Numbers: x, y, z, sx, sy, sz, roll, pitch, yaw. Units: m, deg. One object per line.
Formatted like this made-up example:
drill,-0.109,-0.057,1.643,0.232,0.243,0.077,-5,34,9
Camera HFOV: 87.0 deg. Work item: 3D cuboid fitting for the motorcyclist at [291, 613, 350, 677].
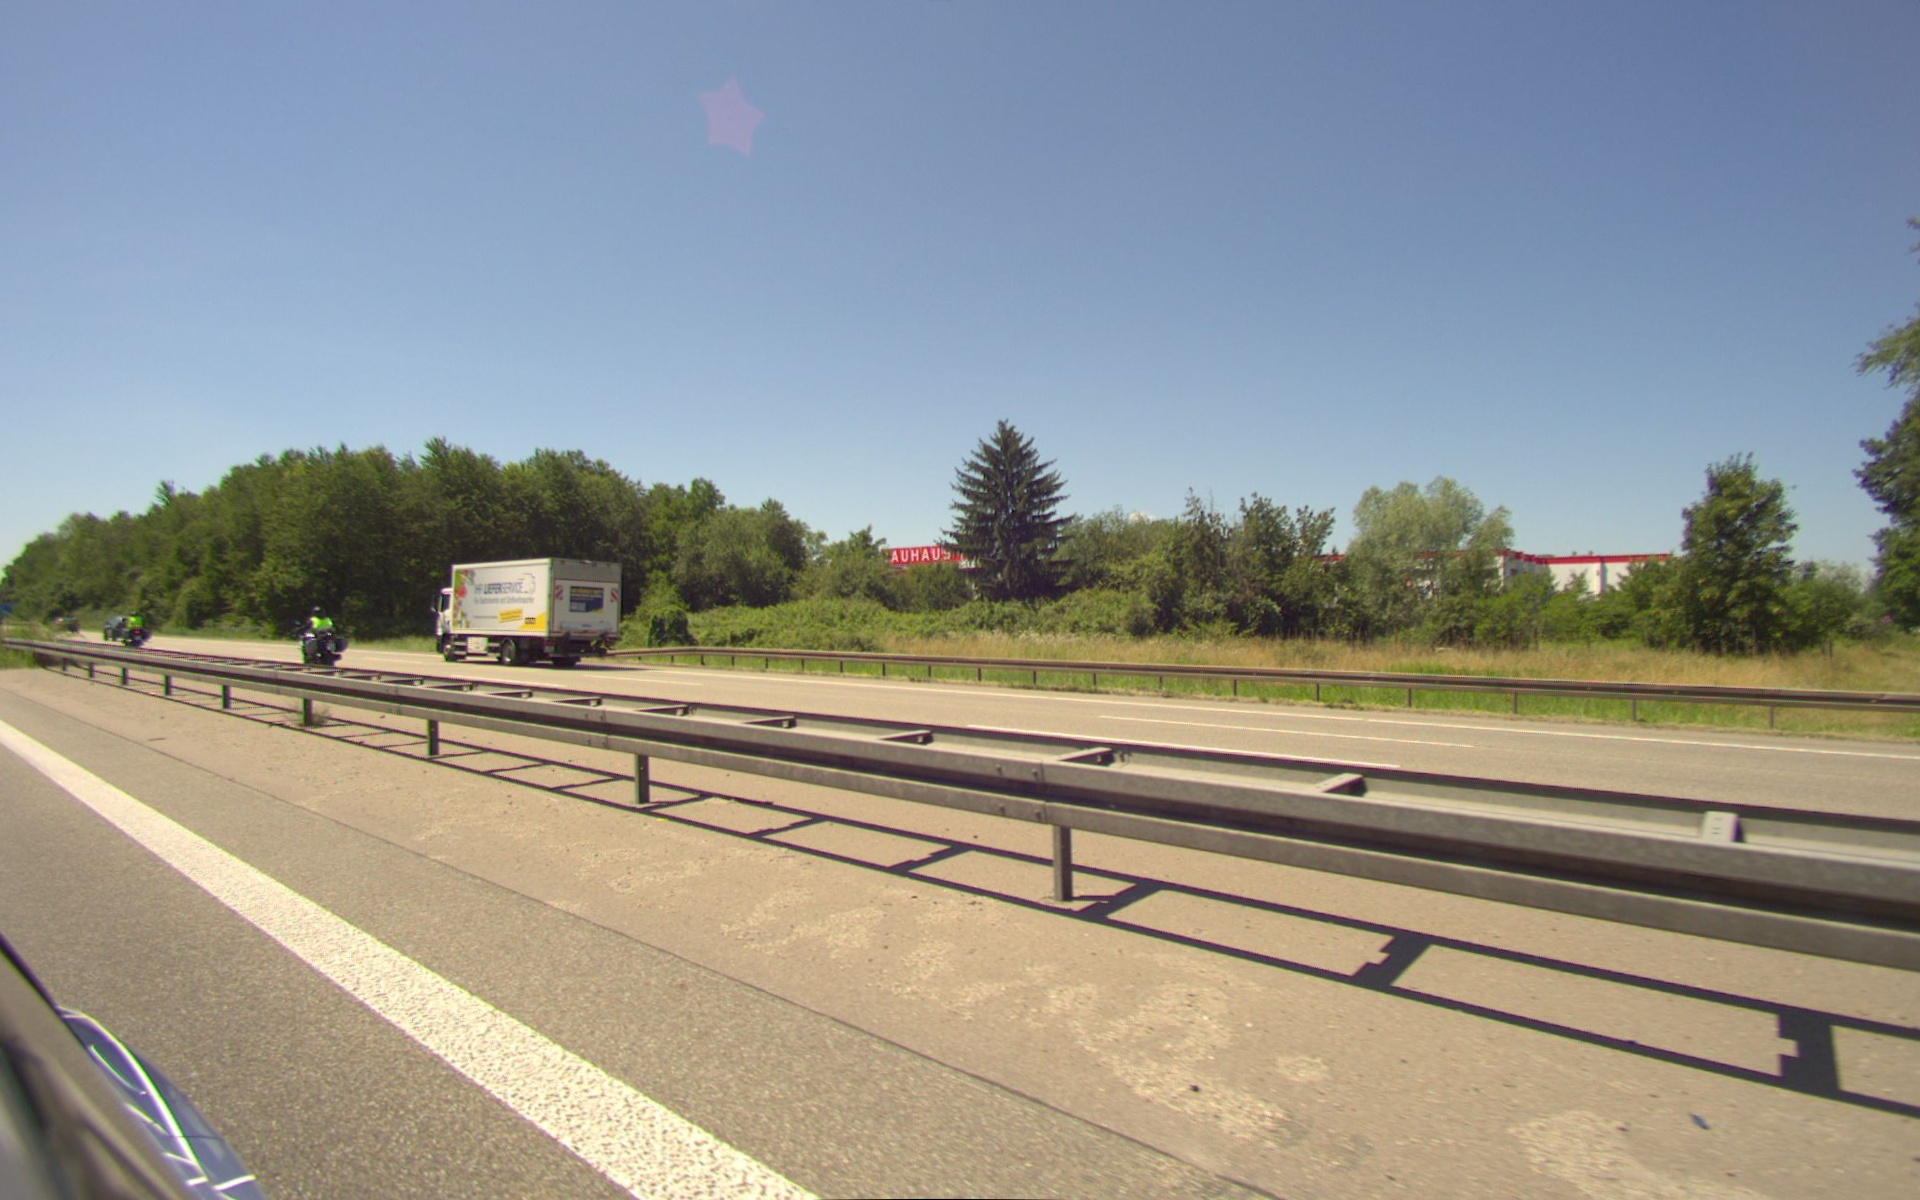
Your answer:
motorcyclist,-16.924,1.161,26.779,1.151,1.611,1.030,-1,0,41

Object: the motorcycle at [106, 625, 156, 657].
motorcycle,-34.754,1.686,42.416,3.809,1.247,1.024,-1,0,41

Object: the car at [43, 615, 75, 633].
car,-89.557,2.376,100.577,3.998,1.673,1.843,-1,0,41

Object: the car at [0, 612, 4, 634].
car,-79.420,1.904,82.541,3.511,1.795,1.820,-1,0,41

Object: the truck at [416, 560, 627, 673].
truck,-16.242,0.555,36.971,10.265,3.646,2.963,-1,0,41

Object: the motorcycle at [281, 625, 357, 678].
motorcycle,-17.012,1.334,26.845,2.576,1.277,1.024,-1,0,41

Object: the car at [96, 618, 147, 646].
car,-54.294,2.074,65.519,4.184,1.685,1.826,-1,-3,41

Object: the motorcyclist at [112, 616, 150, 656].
motorcyclist,-34.767,1.491,42.449,1.151,1.611,1.030,-1,0,41
